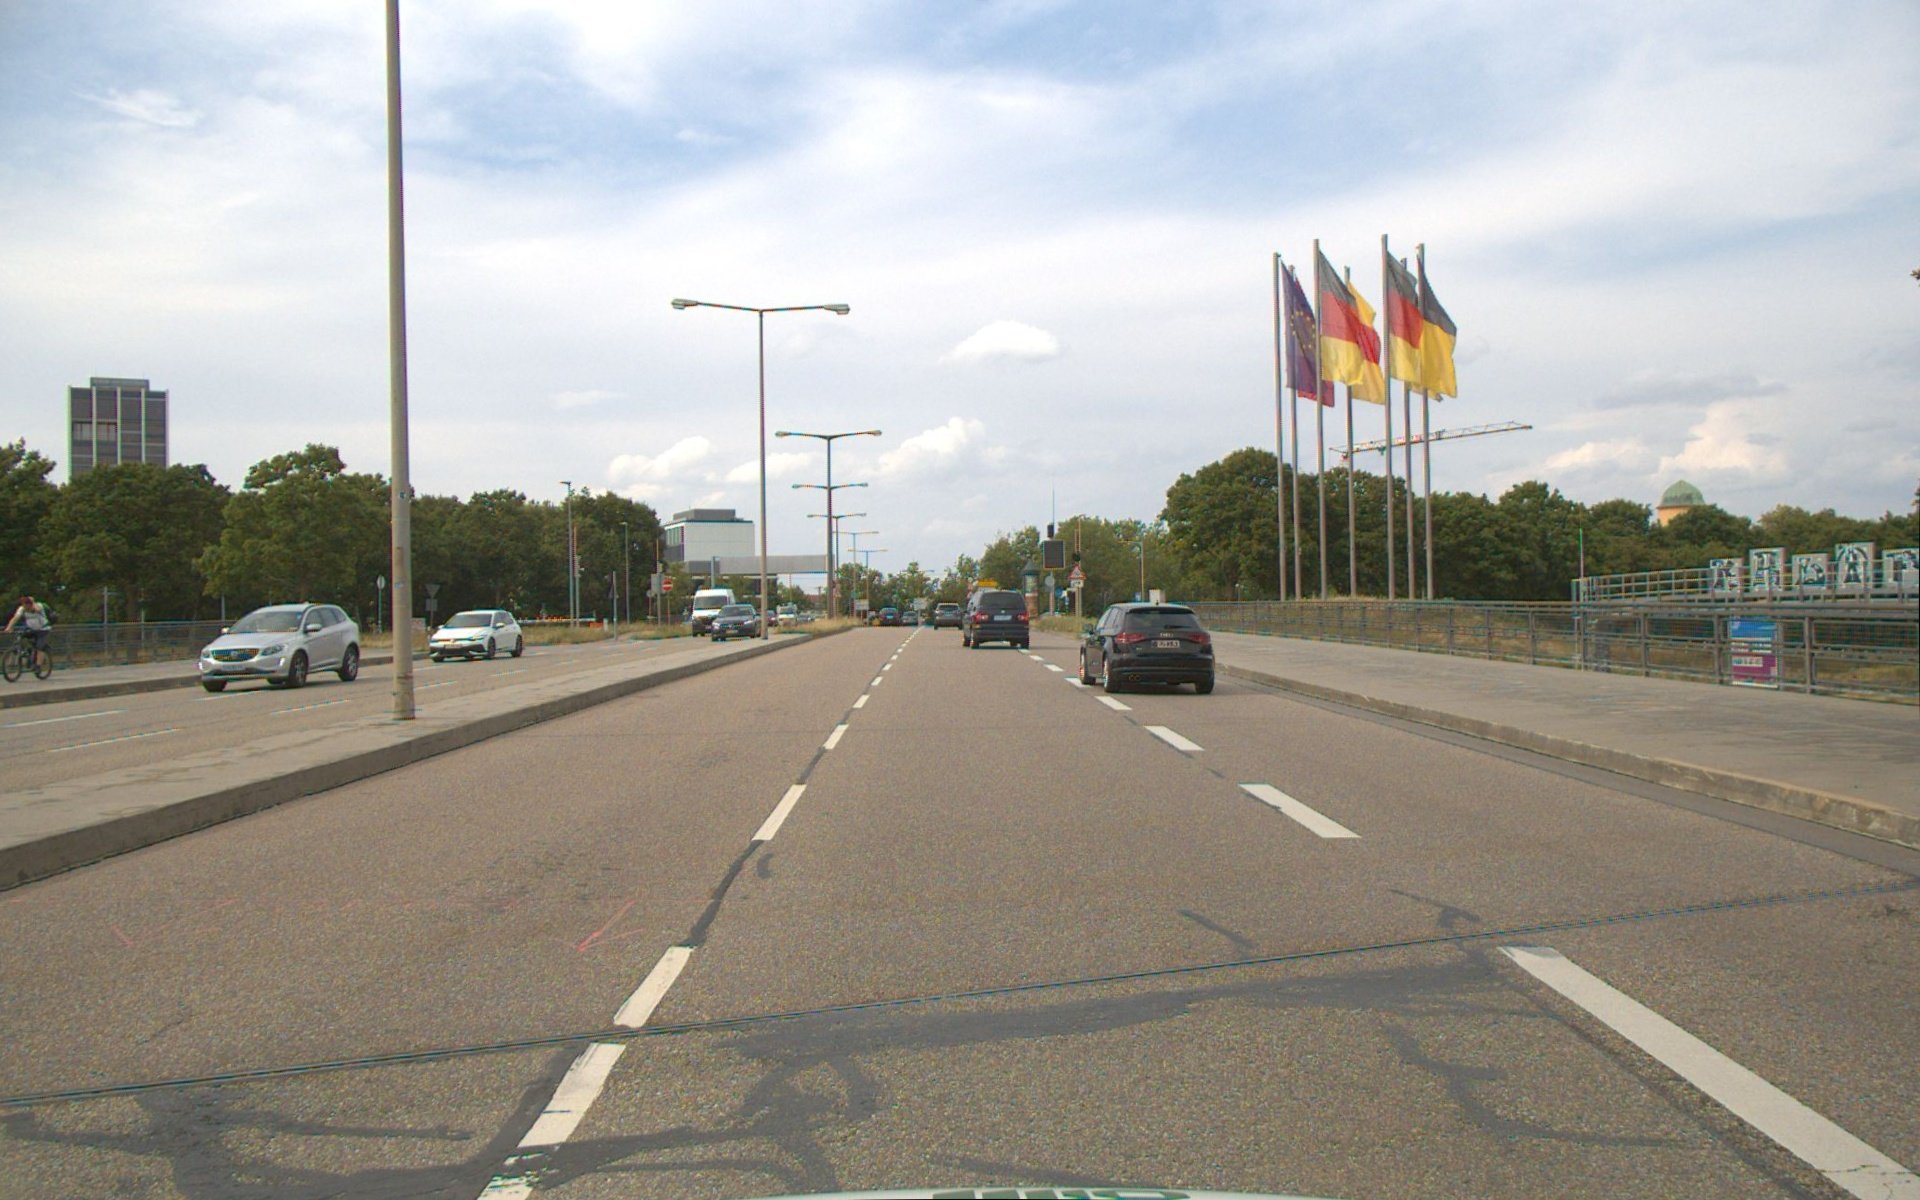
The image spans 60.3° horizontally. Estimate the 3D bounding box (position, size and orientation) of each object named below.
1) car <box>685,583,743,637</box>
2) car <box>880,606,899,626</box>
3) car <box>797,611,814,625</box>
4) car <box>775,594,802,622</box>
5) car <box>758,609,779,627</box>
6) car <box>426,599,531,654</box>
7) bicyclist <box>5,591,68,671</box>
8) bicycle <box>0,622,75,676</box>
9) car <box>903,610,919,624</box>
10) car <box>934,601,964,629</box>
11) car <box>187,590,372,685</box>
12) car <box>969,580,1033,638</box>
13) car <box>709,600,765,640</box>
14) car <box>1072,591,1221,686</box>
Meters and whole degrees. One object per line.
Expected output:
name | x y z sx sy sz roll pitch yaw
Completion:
car | -13.117 0.528 88.581 2.011 2.689 6.400 -2 0 1
car | -6.120 1.411 143.893 1.696 1.682 4.113 0 -1 -2
car | -17.721 2.060 189.833 1.710 1.501 4.562 -2 -1 -3
car | -12.193 0.542 117.571 1.508 1.904 3.570 -2 0 0
car | -18.118 1.674 156.451 1.618 1.602 4.335 -3 -1 -3
car | -14.490 0.771 49.990 1.702 1.506 4.472 -2 0 2
bicyclist | -19.296 0.642 34.562 0.779 1.655 0.975 0 -1 -4
bicycle | -19.272 1.002 34.411 0.692 1.068 2.058 0 -1 -4
car | -5.417 1.853 181.921 1.696 1.553 4.113 0 -1 -2
car | -0.705 0.960 101.750 1.696 1.682 4.113 0 -1 -2
car | -14.008 0.744 34.355 1.825 1.755 4.769 -2 0 0
car | 1.205 0.299 50.304 1.696 1.682 4.113 0 -1 -2
car | -9.186 0.842 68.517 1.703 1.506 4.774 -2 -1 -1
car | 2.986 0.616 27.267 1.696 1.419 4.111 -1 -1 -4
